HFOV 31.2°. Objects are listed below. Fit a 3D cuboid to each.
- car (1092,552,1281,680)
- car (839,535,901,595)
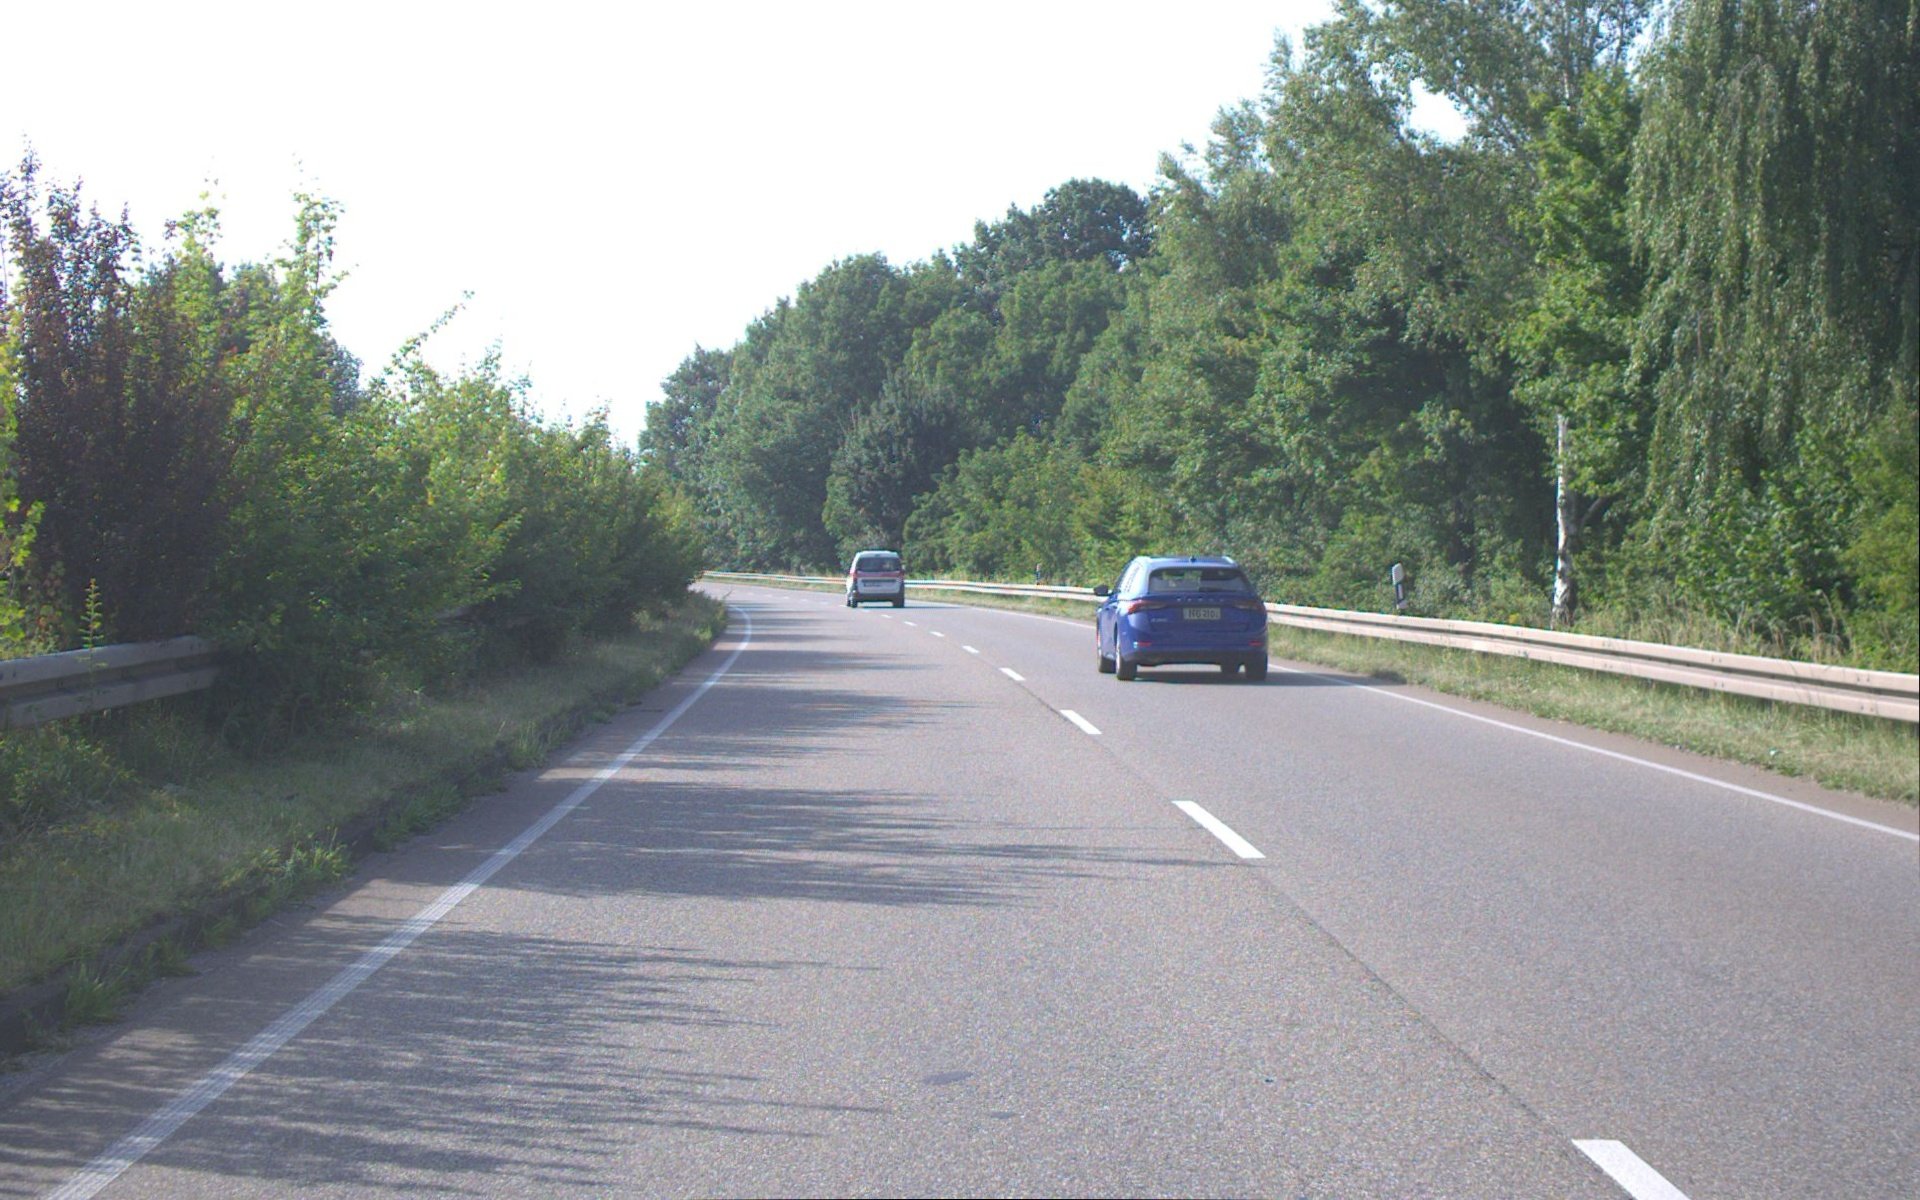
[{"bbox_3d":[2.658,0.153,41.129,1.779,1.446,4.001,0,1,-3],"label":"car"},{"bbox_3d":[-2.901,-1.139,110.281,1.765,1.875,4.001,0,1,-4],"label":"car"}]
